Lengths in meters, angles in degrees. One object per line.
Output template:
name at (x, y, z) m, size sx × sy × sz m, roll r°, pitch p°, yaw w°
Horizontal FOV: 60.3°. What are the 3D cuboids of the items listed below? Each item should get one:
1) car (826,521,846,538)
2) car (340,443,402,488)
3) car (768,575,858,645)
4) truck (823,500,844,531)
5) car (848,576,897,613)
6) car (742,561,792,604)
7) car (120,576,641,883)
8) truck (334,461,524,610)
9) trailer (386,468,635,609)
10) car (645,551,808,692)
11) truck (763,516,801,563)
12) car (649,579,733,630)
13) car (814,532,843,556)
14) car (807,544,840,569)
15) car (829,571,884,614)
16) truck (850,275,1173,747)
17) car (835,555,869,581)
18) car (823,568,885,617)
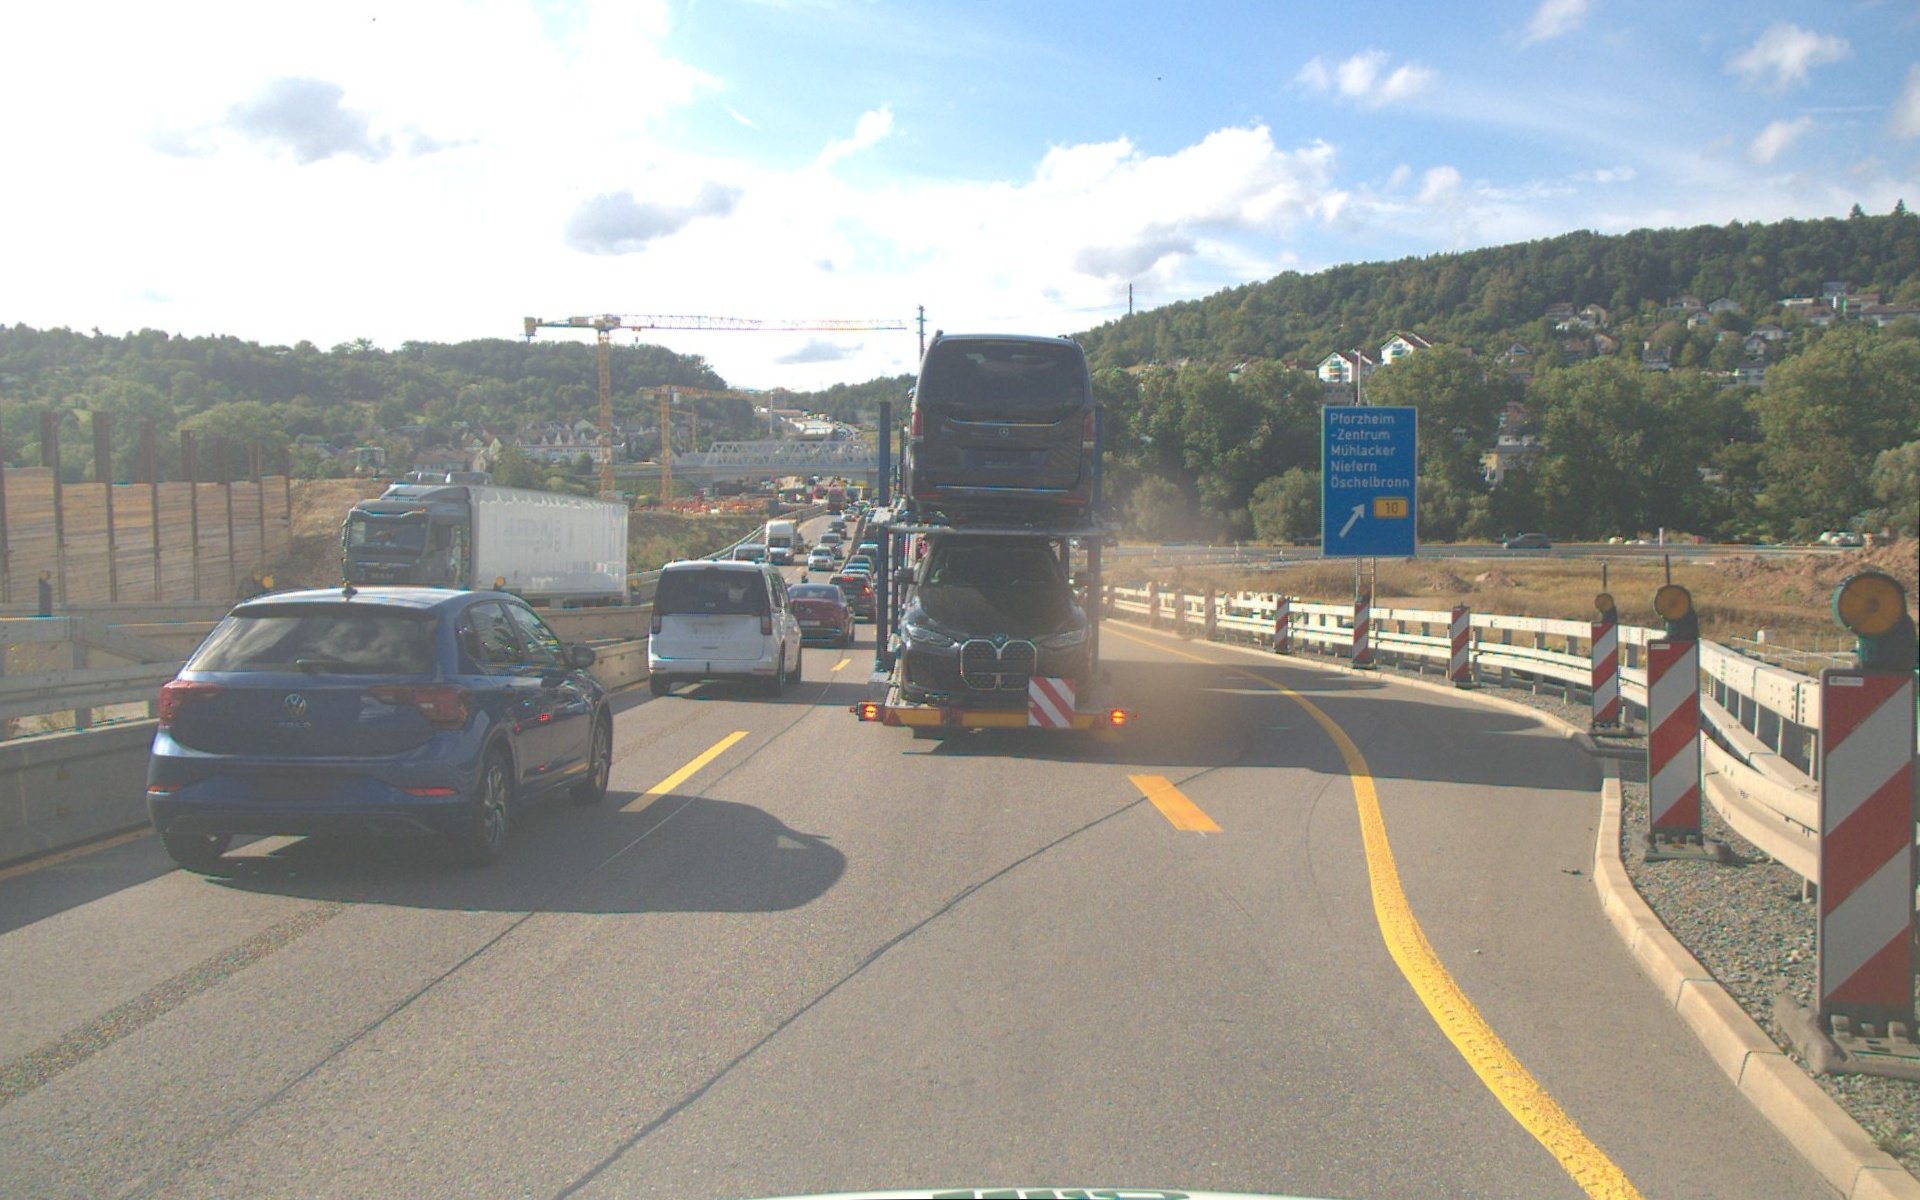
car at (-12.995, -7.423, 173.890) m, size 1.815 × 1.663 × 4.749 m, roll 0°, pitch 3°, yaw -1°
car at (-36.066, -8.189, 101.351) m, size 1.954 × 2.177 × 5.319 m, roll -4°, pitch 0°, yaw -3°
car at (-3.533, 0.224, 40.415) m, size 1.954 × 1.583 × 4.399 m, roll 1°, pitch 0°, yaw -3°
truck at (-19.452, -12.951, 254.089) m, size 2.859 × 4.463 × 6.278 m, roll 2°, pitch 2°, yaw -7°
car at (-3.797, -0.231, 72.295) m, size 1.953 × 1.579 × 3.999 m, roll 1°, pitch 0°, yaw -1°
car at (-11.403, -0.992, 98.173) m, size 2.212 × 2.444 × 5.867 m, roll 1°, pitch 0°, yaw 0°
car at (-3.143, 0.622, 9.872) m, size 1.686 × 1.447 × 4.000 m, roll 0°, pitch 0°, yaw 0°
truck at (-14.665, -1.684, 46.218) m, size 2.718 × 3.854 × 6.022 m, roll 1°, pitch 0°, yaw 7°
trailer at (-13.897, -1.696, 53.001) m, size 2.761 × 3.908 × 13.813 m, roll 1°, pitch 0°, yaw 6°
car at (-3.243, 0.284, 23.639) m, size 1.786 × 1.823 × 3.999 m, roll 1°, pitch 0°, yaw -1°
truck at (-14.071, -4.731, 131.049) m, size 2.647 × 3.369 × 7.531 m, roll 1°, pitch 0°, yaw -4°
car at (-9.721, 0.172, 60.085) m, size 1.951 × 1.757 × 4.125 m, roll 1°, pitch 0°, yaw 6°
car at (-11.091, -4.725, 139.369) m, size 2.083 × 1.796 × 5.031 m, roll 2°, pitch 3°, yaw -1°
car at (-9.931, -3.180, 120.717) m, size 2.082 × 1.702 × 4.273 m, roll -1°, pitch 3°, yaw -1°
car at (-4.038, -0.285, 65.151) m, size 1.953 × 1.579 × 3.999 m, roll 1°, pitch 0°, yaw -1°
truck at (0.328, -0.761, 23.864) m, size 2.697 × 4.023 × 18.885 m, roll 2°, pitch 0°, yaw -1°
car at (-6.993, -2.096, 107.707) m, size 1.953 × 1.579 × 3.999 m, roll 1°, pitch 0°, yaw -1°
car at (-3.690, -0.248, 57.228) m, size 1.955 × 1.579 × 3.995 m, roll 1°, pitch 0°, yaw -6°
